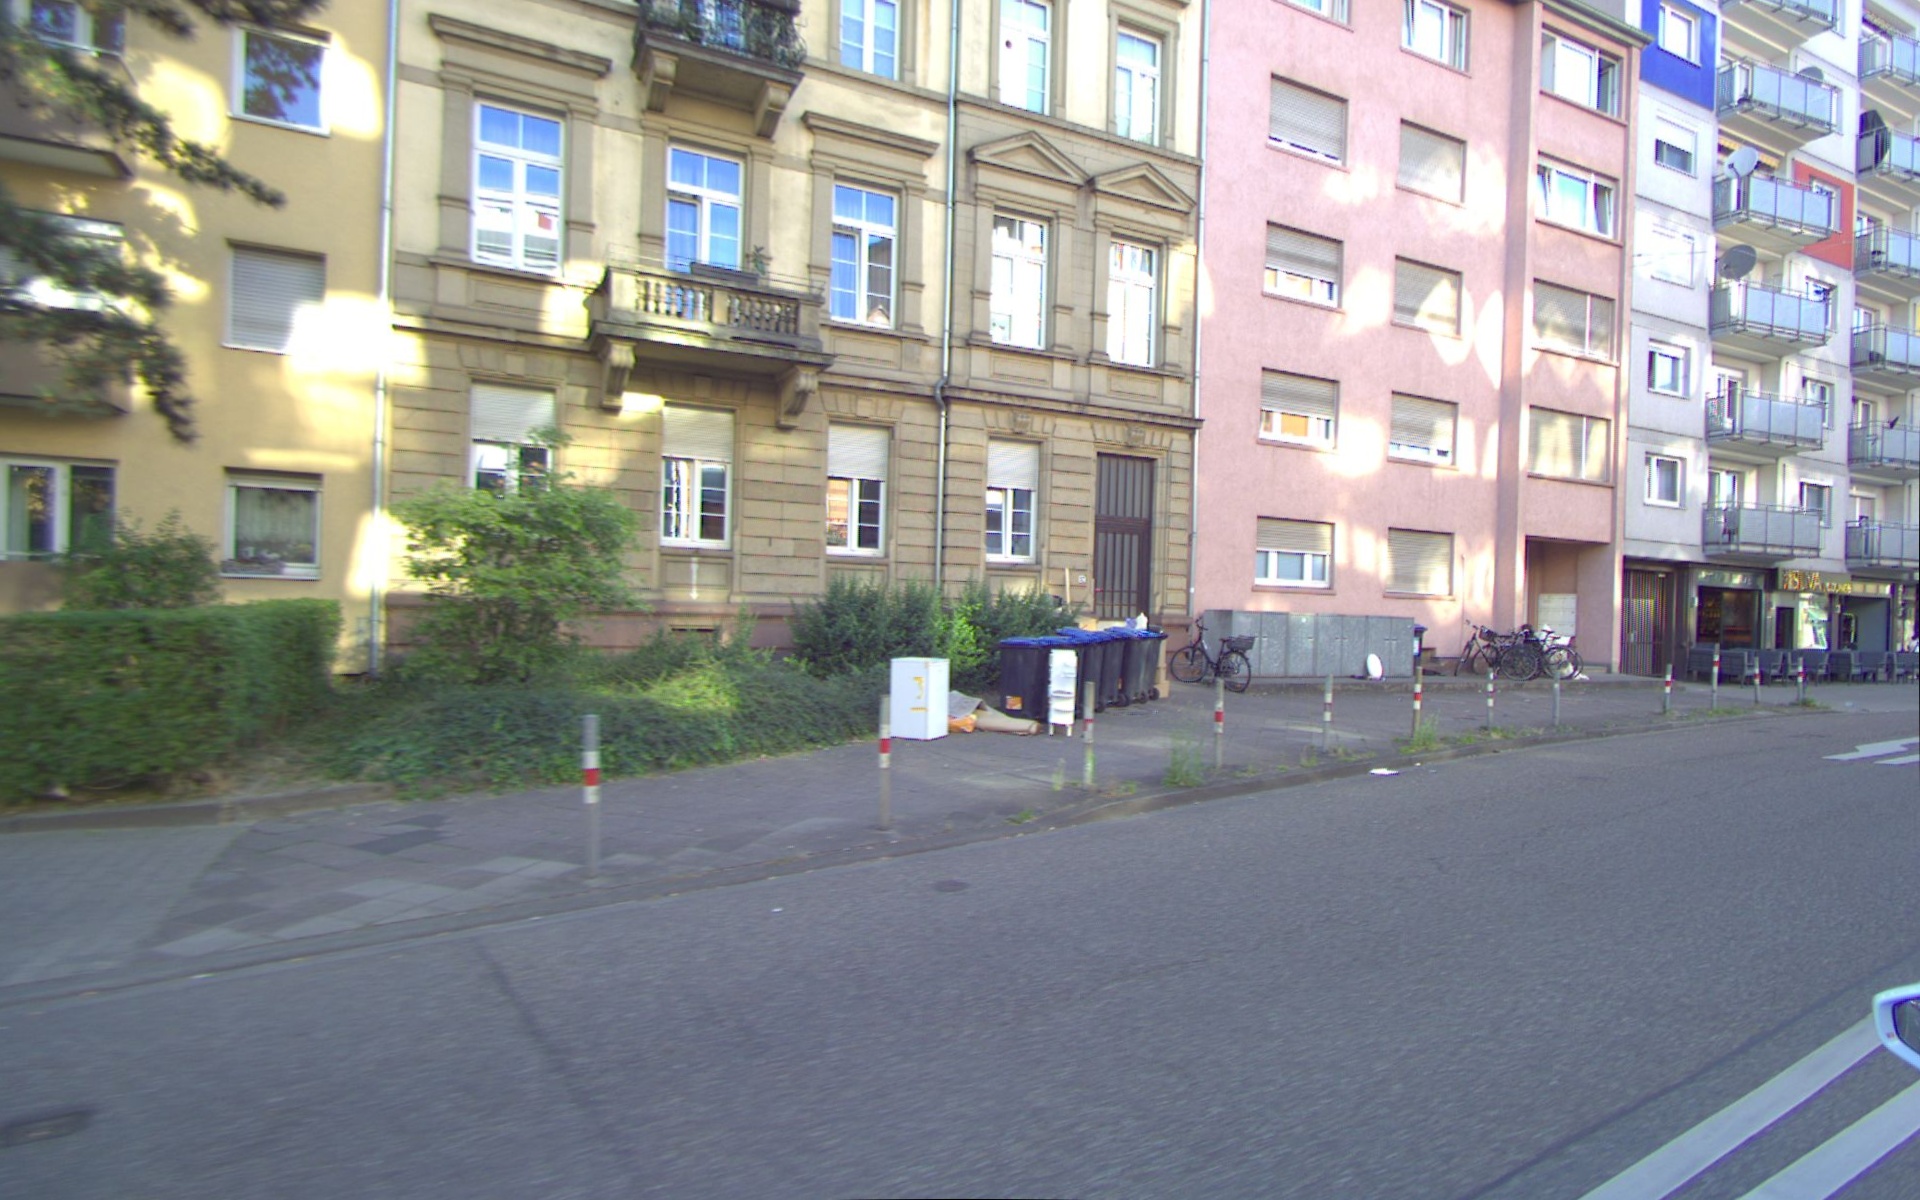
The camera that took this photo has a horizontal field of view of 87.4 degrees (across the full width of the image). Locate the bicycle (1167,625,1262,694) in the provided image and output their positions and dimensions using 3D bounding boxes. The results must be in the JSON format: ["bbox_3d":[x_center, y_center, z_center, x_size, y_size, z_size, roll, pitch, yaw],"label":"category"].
[{"bbox_3d":[4.505,1.041,17.913,0.654,0.980,1.642,2,5,-27],"label":"bicycle"}]

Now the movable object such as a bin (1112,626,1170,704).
[{"bbox_3d":[2.776,0.980,15.402,0.631,1.125,0.582,4,1,34],"label":"movable object such as a bin"}]

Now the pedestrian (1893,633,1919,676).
[{"bbox_3d":[31.499,1.812,33.377,0.472,1.402,0.484,2,0,-5],"label":"pedestrian"}]

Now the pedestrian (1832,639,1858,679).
[{"bbox_3d":[27.627,1.844,31.356,0.514,1.219,0.551,1,0,33],"label":"pedestrian"}]

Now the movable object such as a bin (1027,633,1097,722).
[{"bbox_3d":[1.343,0.999,13.199,0.631,1.082,0.625,4,1,34],"label":"movable object such as a bin"}]

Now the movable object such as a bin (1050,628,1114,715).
[{"bbox_3d":[1.681,0.966,13.845,0.631,1.125,0.582,4,1,34],"label":"movable object such as a bin"}]

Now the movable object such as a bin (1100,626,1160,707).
[{"bbox_3d":[2.515,0.967,14.852,0.631,1.125,0.582,4,1,34],"label":"movable object such as a bin"}]

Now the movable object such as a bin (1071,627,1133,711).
[{"bbox_3d":[2.042,0.967,14.384,0.631,1.125,0.582,4,1,34],"label":"movable object such as a bin"}]

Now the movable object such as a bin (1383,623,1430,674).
[{"bbox_3d":[9.443,1.026,21.251,0.581,1.045,0.672,2,0,-26],"label":"movable object such as a bin"}]

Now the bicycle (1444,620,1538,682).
[{"bbox_3d":[11.231,1.055,21.264,1.649,1.175,0.494,3,1,39],"label":"bicycle"}]

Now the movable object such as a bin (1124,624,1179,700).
[{"bbox_3d":[3.051,0.975,16.009,0.631,1.125,0.582,4,1,34],"label":"movable object such as a bin"}]

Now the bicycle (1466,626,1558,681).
[{"bbox_3d":[11.899,1.132,21.707,0.543,1.054,1.660,2,1,-32],"label":"bicycle"}]

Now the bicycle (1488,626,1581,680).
[{"bbox_3d":[12.616,1.139,22.106,0.545,1.054,1.655,2,1,-40],"label":"bicycle"}]
